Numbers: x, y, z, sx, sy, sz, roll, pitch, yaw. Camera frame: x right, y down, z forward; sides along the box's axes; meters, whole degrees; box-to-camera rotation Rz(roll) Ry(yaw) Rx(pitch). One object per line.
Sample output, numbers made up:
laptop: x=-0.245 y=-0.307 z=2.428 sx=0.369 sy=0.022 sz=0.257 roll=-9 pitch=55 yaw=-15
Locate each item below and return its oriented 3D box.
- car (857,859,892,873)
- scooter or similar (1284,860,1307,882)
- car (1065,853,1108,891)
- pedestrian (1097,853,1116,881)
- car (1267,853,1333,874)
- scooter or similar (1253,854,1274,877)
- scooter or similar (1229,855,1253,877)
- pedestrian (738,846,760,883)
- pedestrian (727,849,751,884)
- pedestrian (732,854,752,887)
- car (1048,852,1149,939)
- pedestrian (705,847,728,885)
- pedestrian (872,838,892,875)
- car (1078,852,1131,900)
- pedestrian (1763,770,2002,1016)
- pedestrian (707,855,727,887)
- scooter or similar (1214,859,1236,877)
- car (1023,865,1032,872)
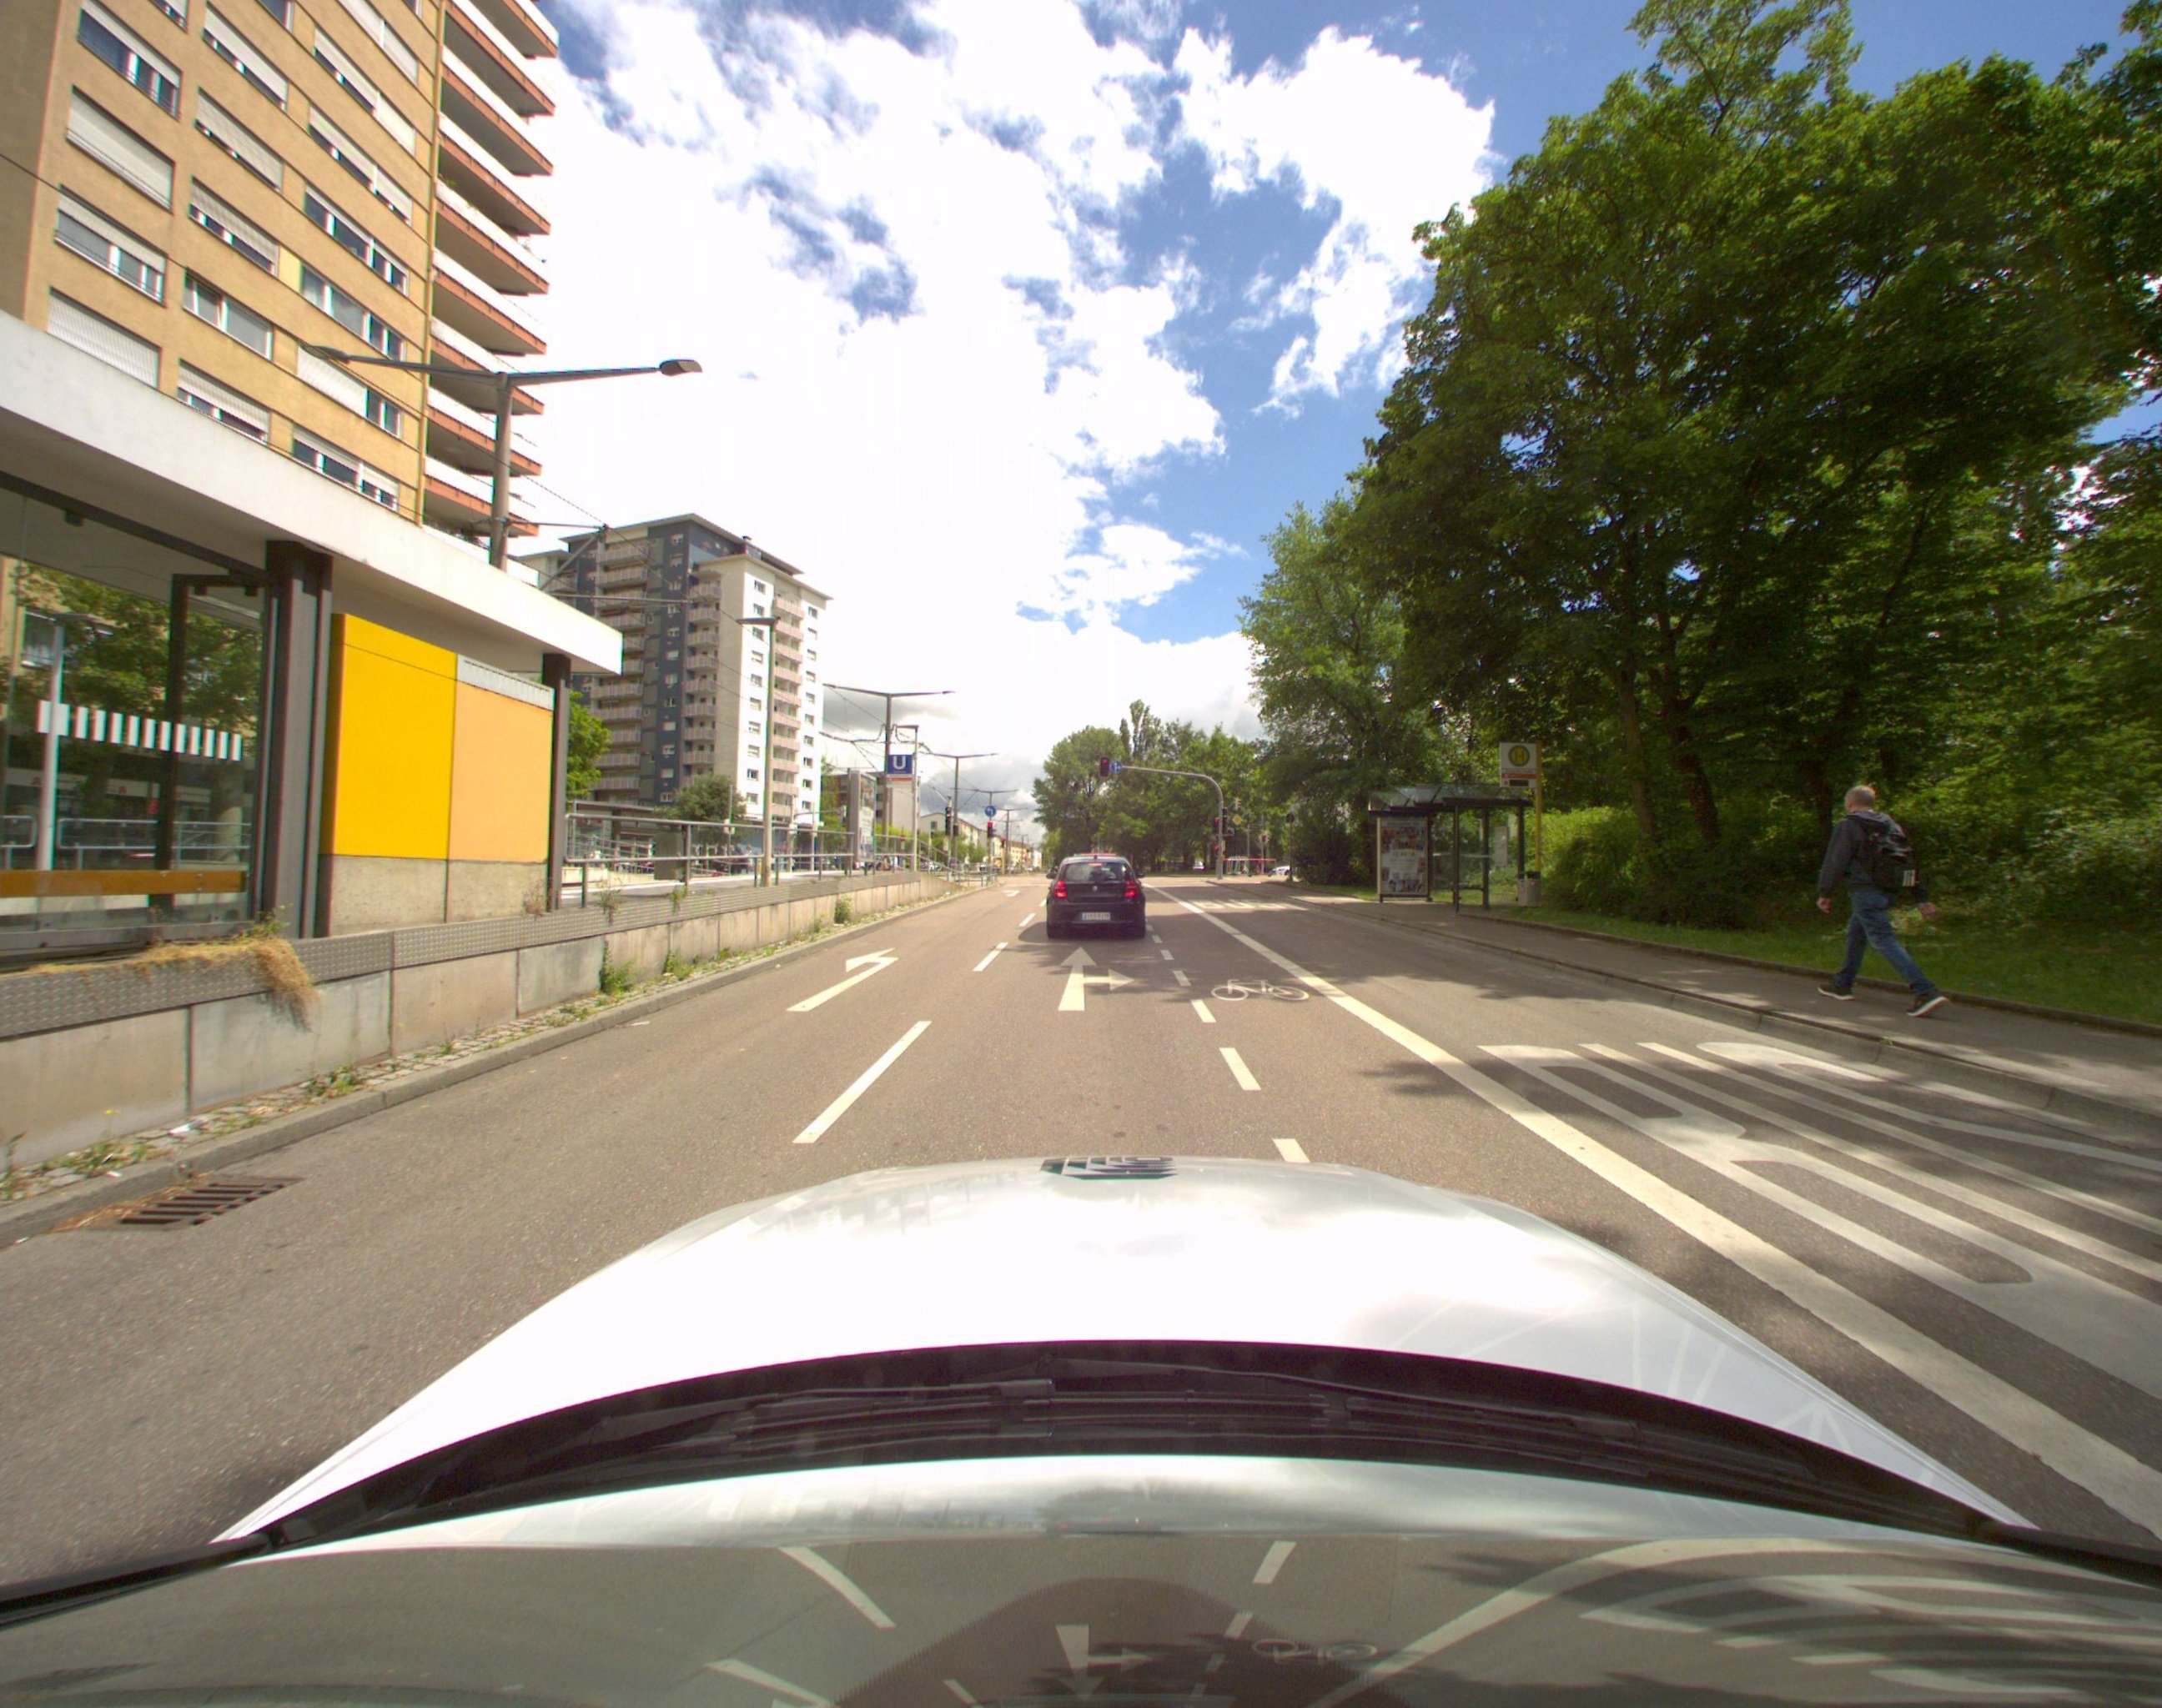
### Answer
car: x=-23.127 y=1.314 z=91.214 sx=3.600 sy=1.462 sz=1.612 roll=-1 pitch=0 yaw=-7
scooter or similar: x=10.771 y=0.853 z=40.931 sx=1.153 sy=1.099 sz=0.329 roll=0 pitch=0 yaw=-22
car: x=0.202 y=0.686 z=32.878 sx=1.649 sy=1.419 sz=3.516 roll=0 pitch=0 yaw=0
pedestrian: x=1.298 y=0.654 z=41.859 sx=0.859 sy=1.442 sz=0.801 roll=-1 pitch=0 yaw=10
car: x=17.100 y=0.749 z=63.709 sx=4.572 sy=1.526 sz=1.939 roll=-1 pitch=0 yaw=-10
scooter or similar: x=10.315 y=0.636 z=46.109 sx=1.107 sy=1.258 sz=0.330 roll=-1 pitch=0 yaw=-11
scooter or similar: x=8.908 y=0.642 z=45.271 sx=1.290 sy=1.189 sz=0.383 roll=-1 pitch=0 yaw=-15
pedestrian: x=-15.263 y=0.475 z=37.498 sx=0.678 sy=1.706 sz=0.826 roll=0 pitch=0 yaw=-1
pedestrian: x=-15.258 y=0.549 z=36.323 sx=0.857 sy=1.578 sz=0.622 roll=0 pitch=0 yaw=-7
pedestrian: x=-14.255 y=0.691 z=34.272 sx=0.691 sy=1.342 sz=0.852 roll=0 pitch=0 yaw=-29
car: x=0.383 y=0.685 z=15.148 sx=1.647 sy=1.419 sz=3.520 roll=0 pitch=0 yaw=3
pedestrian: x=-15.652 y=0.515 z=34.953 sx=0.605 sy=1.583 sz=0.775 roll=0 pitch=0 yaw=4
pedestrian: x=-8.953 y=0.127 z=36.657 sx=0.698 sy=1.632 sz=0.638 roll=-1 pitch=0 yaw=2
car: x=0.769 y=0.646 z=26.039 sx=1.588 sy=1.419 sz=3.519 roll=0 pitch=0 yaw=2
pedestrian: x=6.738 y=0.302 z=6.940 sx=0.798 sy=1.895 sz=1.271 roll=0 pitch=0 yaw=2
pedestrian: x=-15.209 y=0.698 z=34.062 sx=0.660 sy=1.343 sz=0.558 roll=0 pitch=0 yaw=43
scooter or similar: x=7.805 y=0.749 z=44.170 sx=1.122 sy=0.957 sz=0.299 roll=-1 pitch=0 yaw=-15
car: x=-12.963 y=3.483 z=197.100 sx=1.961 sy=1.596 sz=3.998 roll=0 pitch=0 yaw=-1
